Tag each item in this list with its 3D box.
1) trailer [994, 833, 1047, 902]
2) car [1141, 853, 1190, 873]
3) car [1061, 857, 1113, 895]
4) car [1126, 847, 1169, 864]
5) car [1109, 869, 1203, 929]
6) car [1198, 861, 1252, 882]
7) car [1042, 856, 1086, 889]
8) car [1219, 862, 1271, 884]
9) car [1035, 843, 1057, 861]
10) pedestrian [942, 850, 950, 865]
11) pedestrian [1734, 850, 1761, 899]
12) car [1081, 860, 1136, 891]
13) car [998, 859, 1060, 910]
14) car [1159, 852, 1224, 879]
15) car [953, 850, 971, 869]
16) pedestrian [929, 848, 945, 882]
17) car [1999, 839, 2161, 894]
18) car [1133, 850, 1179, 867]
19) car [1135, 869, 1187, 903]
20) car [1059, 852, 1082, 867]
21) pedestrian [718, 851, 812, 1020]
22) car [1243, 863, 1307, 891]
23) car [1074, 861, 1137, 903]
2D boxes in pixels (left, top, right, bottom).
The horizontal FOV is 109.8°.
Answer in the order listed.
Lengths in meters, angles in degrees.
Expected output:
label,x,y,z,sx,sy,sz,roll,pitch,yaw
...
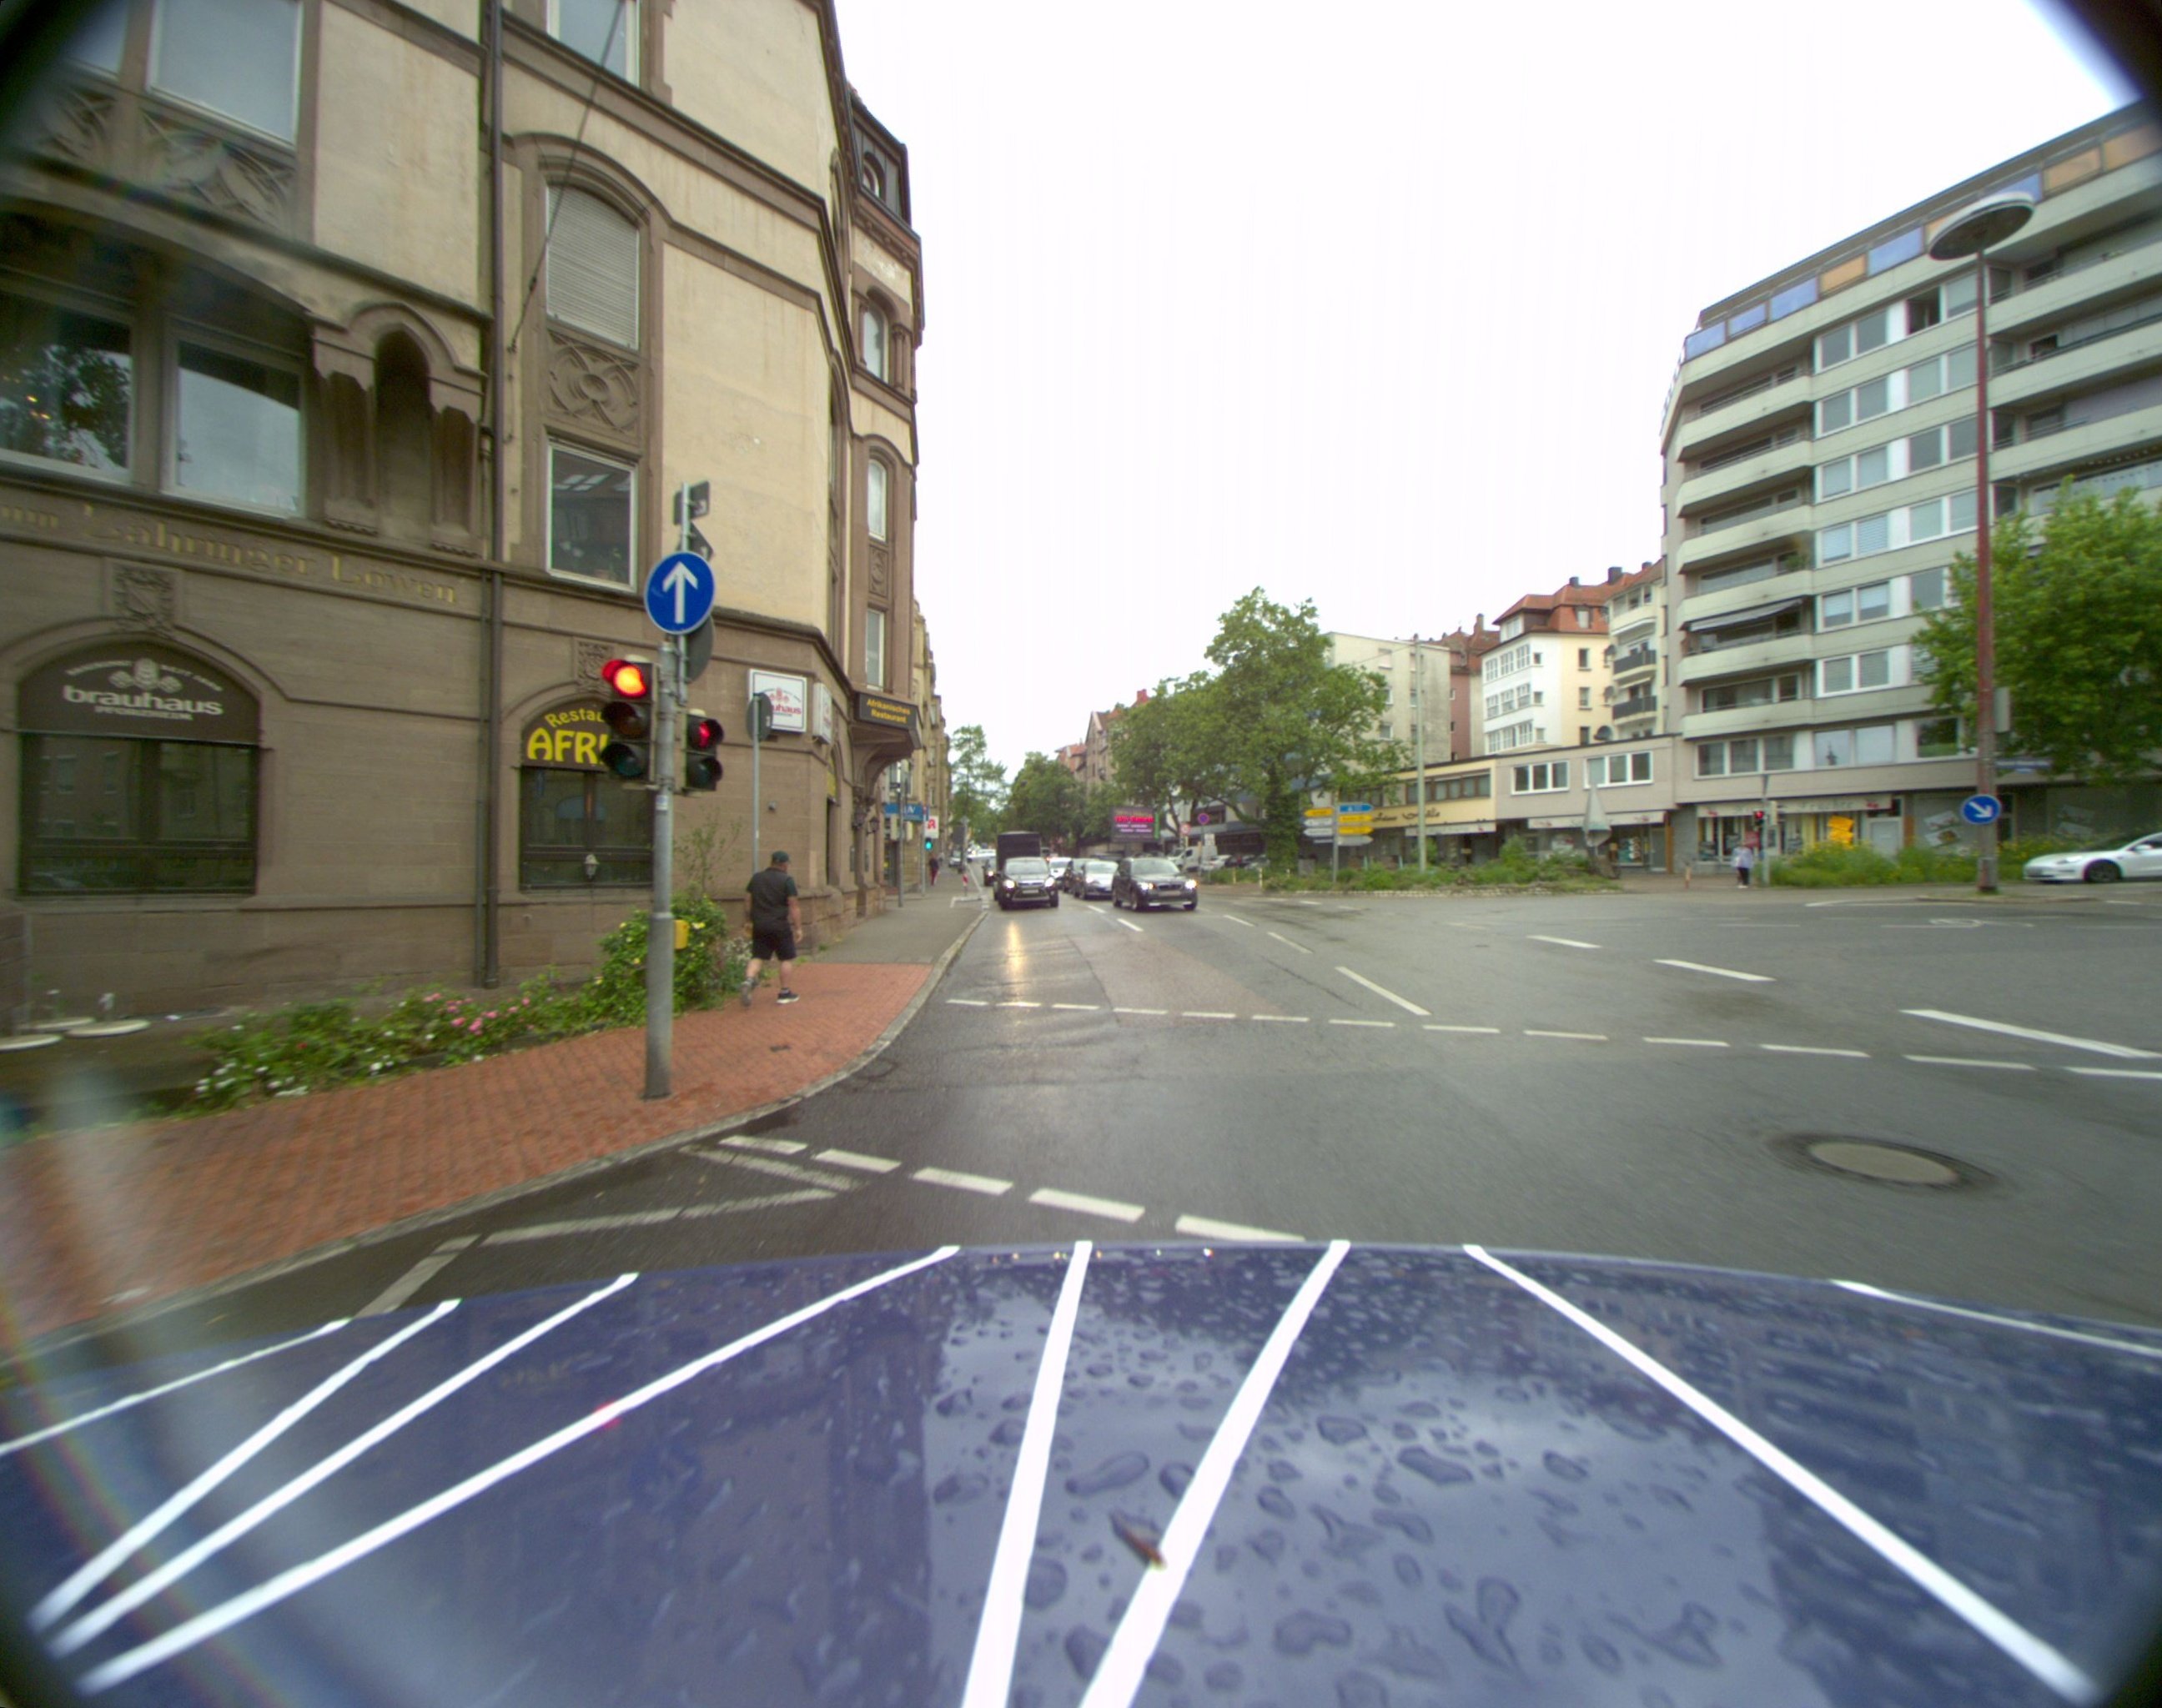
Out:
label,x,y,z,sx,sy,sz,roll,pitch,yaw
trailer,-2.580,0.531,31.443,1.939,2.621,4.681,-1,0,-8
car,7.276,0.746,65.430,3.842,1.680,1.802,-1,2,-28
car,0.229,1.026,35.956,1.758,1.634,4.210,-1,-1,-9
car,6.098,0.107,69.501,3.843,1.398,1.676,-4,3,-40
car,2.089,1.243,22.397,1.758,1.526,4.212,-1,0,-8
car,10.537,1.258,55.649,3.711,1.408,1.807,-2,1,-34
car,-1.022,0.993,42.054,1.758,1.635,4.374,-1,1,-10
car,11.586,1.304,53.649,3.629,1.408,1.626,-2,1,-38
car,-3.972,-0.266,85.178,1.819,1.870,4.237,4,0,-9
pedestrian,-13.432,0.339,75.685,0.645,1.488,0.690,3,4,-10
pedestrian,23.494,0.717,26.774,0.618,1.683,0.626,-1,0,35
car,1.687,1.341,48.395,1.750,1.835,4.137,0,0,-25
car,-1.758,0.953,24.968,1.863,1.503,3.680,1,0,-6
car,8.812,0.912,60.559,4.984,1.966,1.876,-2,1,-29
car,-11.734,0.498,74.884,1.527,1.609,3.489,4,1,-9
pedestrian,-8.612,0.665,45.514,0.699,1.939,1.090,2,4,-1
car,29.853,0.345,21.616,4.383,1.482,1.917,-2,0,21
car,6.702,0.367,68.045,3.842,1.397,1.687,-1,1,-30
car,3.910,1.556,37.744,1.630,1.509,3.868,-1,0,-8
car,-1.036,0.536,73.461,1.719,1.488,3.679,0,0,-10
pedestrian,-3.371,0.822,8.139,0.832,1.669,0.892,-2,0,-22
car,13.048,1.506,50.984,4.224,1.633,1.936,-2,1,-38
car,0.849,1.003,28.930,1.757,1.474,4.178,0,0,-7
